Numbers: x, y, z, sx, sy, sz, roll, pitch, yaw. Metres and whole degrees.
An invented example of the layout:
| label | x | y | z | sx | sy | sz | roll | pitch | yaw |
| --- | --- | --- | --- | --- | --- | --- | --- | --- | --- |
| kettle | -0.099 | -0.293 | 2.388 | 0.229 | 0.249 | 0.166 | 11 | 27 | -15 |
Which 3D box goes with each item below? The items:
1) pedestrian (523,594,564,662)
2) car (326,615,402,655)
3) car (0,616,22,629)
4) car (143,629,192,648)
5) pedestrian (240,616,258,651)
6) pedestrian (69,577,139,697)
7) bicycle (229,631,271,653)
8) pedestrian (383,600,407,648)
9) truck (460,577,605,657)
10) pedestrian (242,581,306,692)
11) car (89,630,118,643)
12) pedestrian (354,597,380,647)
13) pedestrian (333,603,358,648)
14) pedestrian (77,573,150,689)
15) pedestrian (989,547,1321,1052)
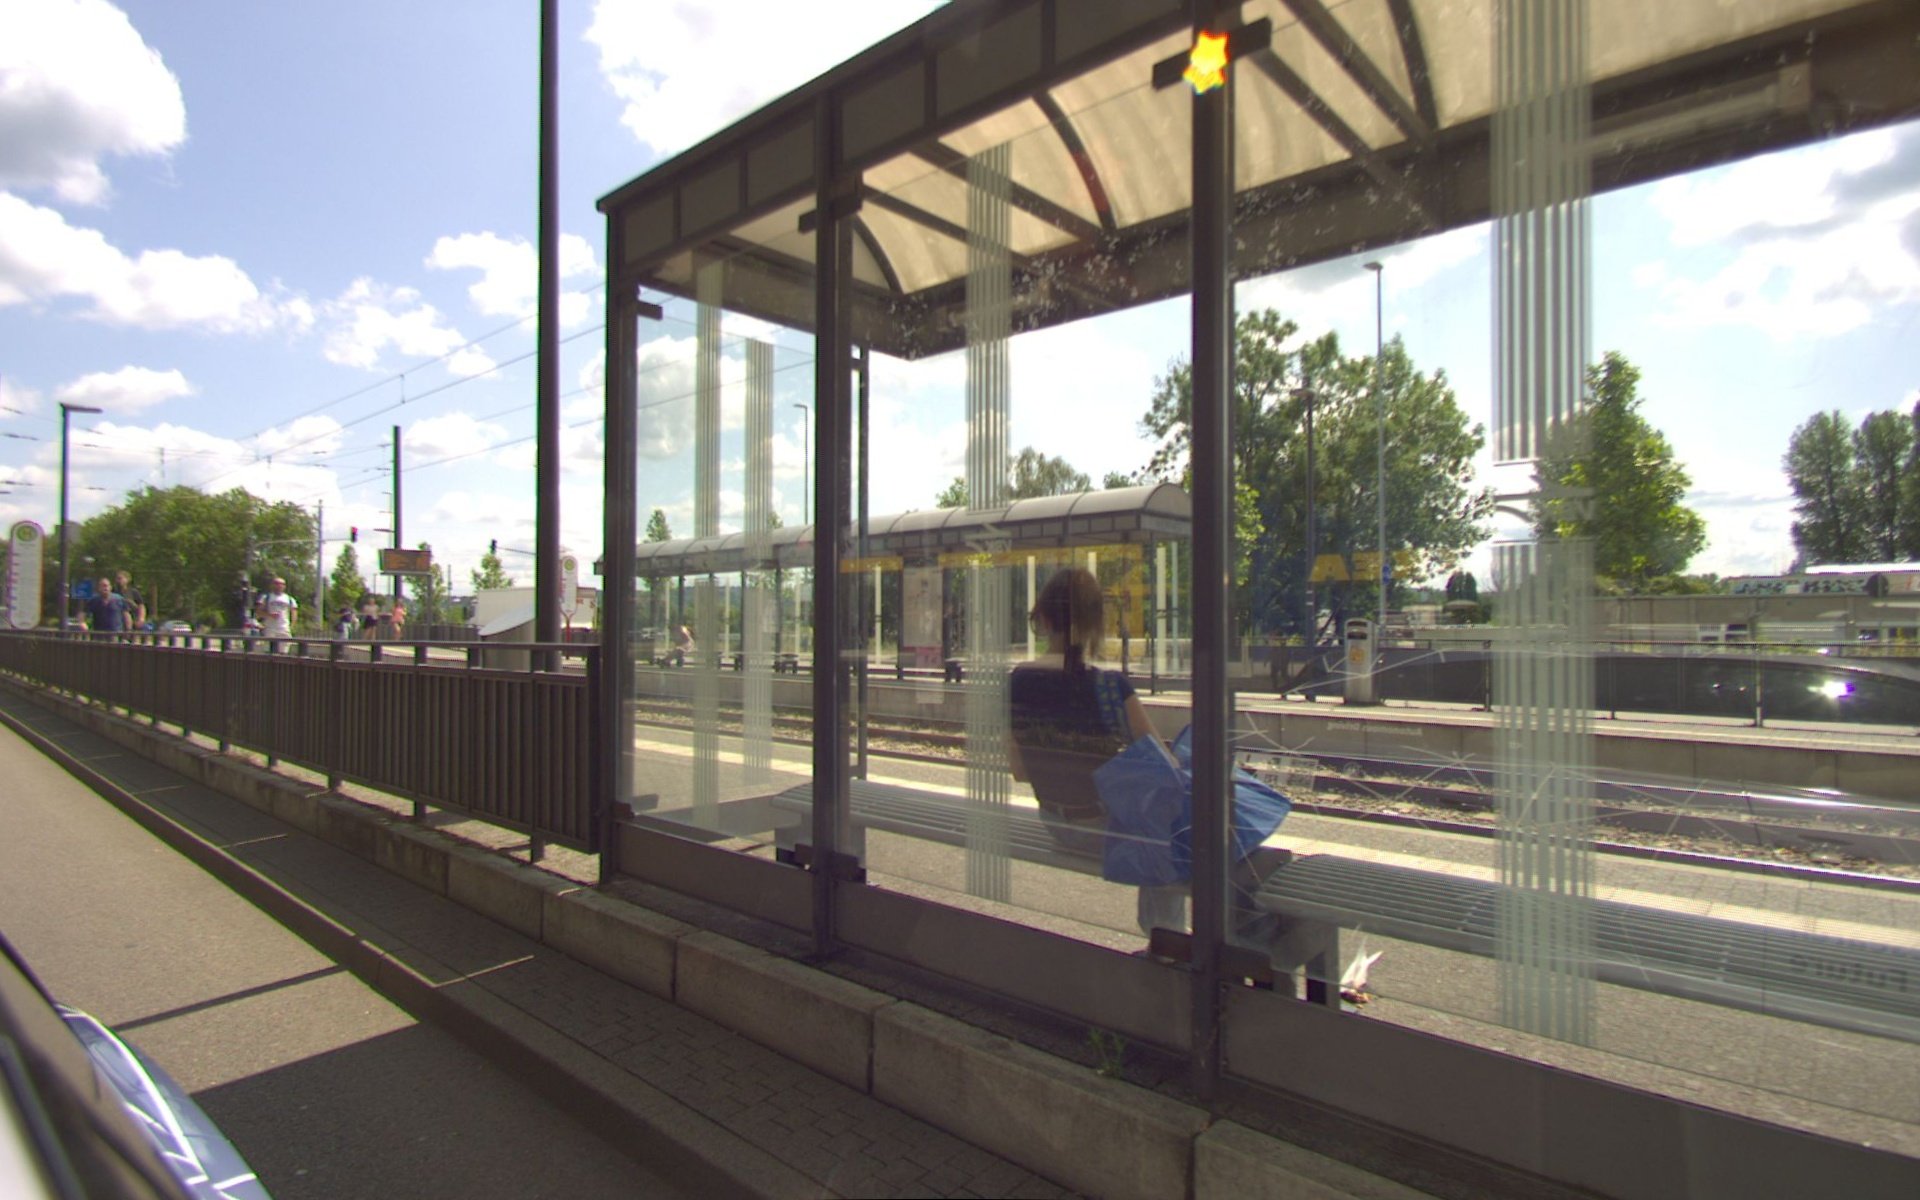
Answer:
| label | x | y | z | sx | sy | sz | roll | pitch | yaw |
| --- | --- | --- | --- | --- | --- | --- | --- | --- | --- |
| pedestrian | -11.400 | 0.768 | 27.709 | 0.930 | 1.821 | 0.726 | -2 | -2 | 43 |
| car | -28.876 | 1.692 | 48.993 | 4.667 | 1.834 | 1.971 | -3 | -2 | 44 |
| car | -146.851 | 3.514 | 156.180 | 1.966 | 1.822 | 5.150 | 0 | -2 | -30 |
| car | -74.711 | 3.637 | 95.445 | 4.643 | 1.787 | 1.868 | -2 | -2 | 27 |
| pedestrian | -36.677 | 1.722 | 52.219 | 0.662 | 1.782 | 0.613 | 0 | -2 | -45 |
| pedestrian | -13.144 | 0.553 | 15.536 | 0.930 | 1.769 | 0.726 | -2 | -2 | 43 |
| bicycle | -36.648 | 2.156 | 52.236 | 1.697 | 1.096 | 0.621 | 0 | -1 | -45 |
| pedestrian | -20.445 | 0.863 | 36.616 | 0.592 | 1.735 | 0.709 | 0 | -2 | -44 |
| truck | -24.519 | 0.997 | 57.510 | 11.996 | 4.136 | 2.911 | -2 | -1 | 43 |
| pedestrian | -11.672 | 0.612 | 17.217 | 0.930 | 1.821 | 0.726 | -2 | -2 | 43 |
| car | -96.006 | 4.121 | 113.408 | 3.885 | 1.419 | 1.650 | -2 | -1 | 37 |
| pedestrian | -21.217 | 0.794 | 36.195 | 0.627 | 1.761 | 0.678 | -2 | 0 | -44 |
| pedestrian | -23.678 | 0.981 | 39.013 | 0.719 | 1.735 | 0.525 | 0 | -2 | -43 |
| pedestrian | -14.797 | 0.545 | 17.697 | 0.994 | 1.954 | 0.864 | -3 | -2 | 42 |
| pedestrian | 0.560 | 0.474 | 2.876 | 0.642 | 1.199 | 0.686 | -2 | 0 | 43 |
